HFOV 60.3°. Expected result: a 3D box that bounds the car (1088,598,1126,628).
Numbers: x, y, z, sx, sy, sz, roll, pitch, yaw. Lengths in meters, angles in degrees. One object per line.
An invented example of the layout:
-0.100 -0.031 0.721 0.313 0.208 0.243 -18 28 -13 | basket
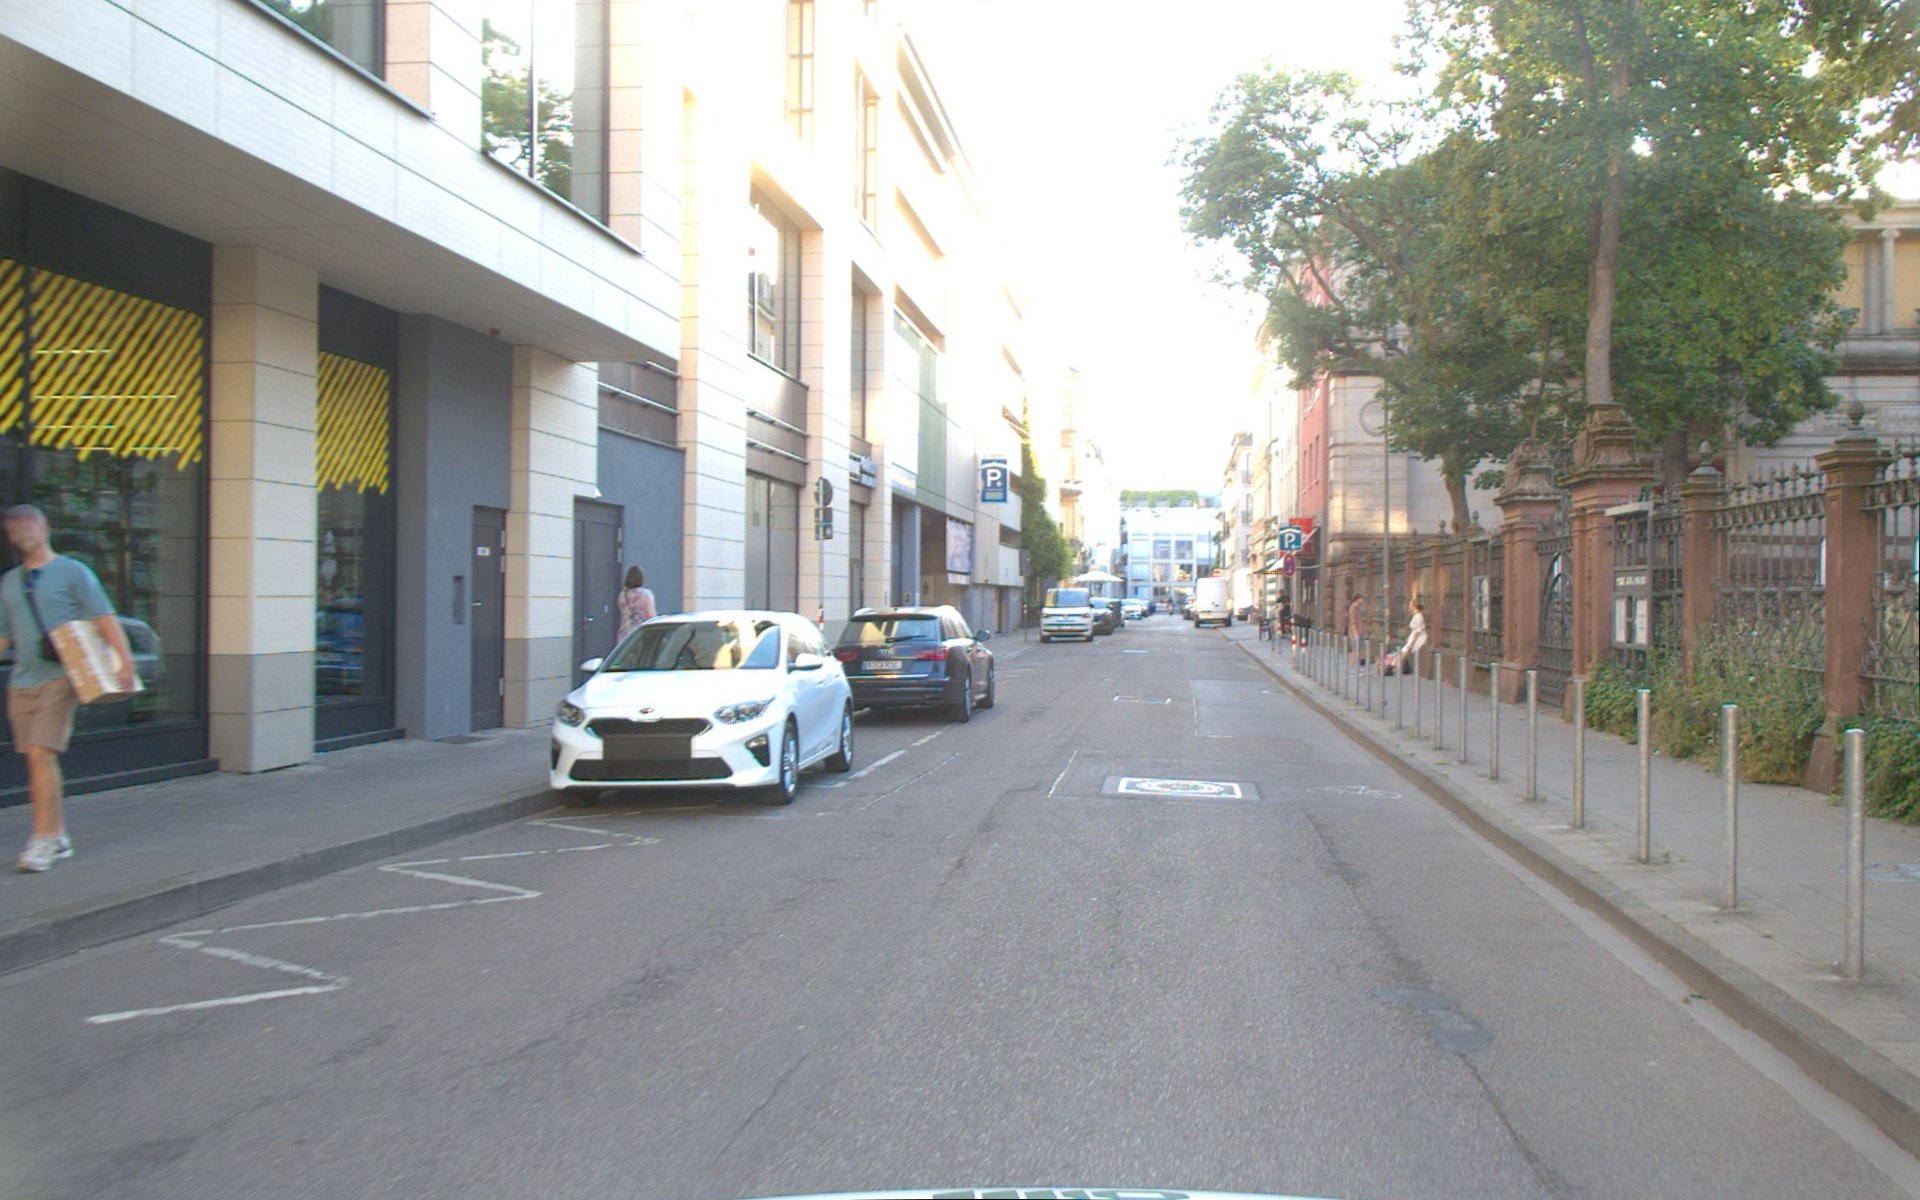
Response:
7.618 0.671 85.413 1.843 1.478 4.003 0 0 6 | car

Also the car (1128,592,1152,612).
15.445 0.194 141.853 1.951 1.713 4.003 1 0 8 | car

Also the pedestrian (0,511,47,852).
-5.113 0.405 8.308 0.658 1.704 0.648 1 0 5 | pedestrian

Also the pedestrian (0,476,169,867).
-4.451 0.338 8.253 0.658 1.868 0.648 1 0 5 | pedestrian

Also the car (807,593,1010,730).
-0.565 0.724 22.308 1.843 1.626 4.693 0 0 9 | car

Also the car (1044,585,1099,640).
4.127 0.422 60.491 1.843 1.945 4.751 0 0 6 | car

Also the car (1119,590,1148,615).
12.531 0.195 119.355 1.951 1.713 4.003 1 0 8 | car

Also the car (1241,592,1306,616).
19.528 0.272 103.056 3.902 1.445 1.658 1 0 8 | car

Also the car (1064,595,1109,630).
5.513 0.520 71.737 1.843 1.478 4.003 0 0 6 | car

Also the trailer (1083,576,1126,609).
7.090 -0.342 80.854 1.951 1.584 4.003 1 0 6 | trailer

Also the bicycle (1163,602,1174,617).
19.447 0.879 154.137 0.954 1.302 2.756 1 0 8 | bicycle

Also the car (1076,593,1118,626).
6.388 0.415 76.782 1.843 1.478 4.003 0 0 6 | car

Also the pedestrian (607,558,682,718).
-3.582 0.418 18.787 0.657 1.775 0.648 0 0 7 | pedestrian

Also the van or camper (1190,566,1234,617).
14.116 -0.454 92.976 2.210 2.652 5.116 -4 -1 8 | van or camper

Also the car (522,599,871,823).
-1.927 0.753 13.414 1.740 1.478 4.234 0 0 6 | car

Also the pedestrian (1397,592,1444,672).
8.962 0.618 32.219 0.733 1.526 0.619 -1 0 2 | pedestrian

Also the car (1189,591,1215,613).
18.878 0.170 129.107 1.951 1.713 4.003 1 0 8 | car

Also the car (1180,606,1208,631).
16.584 1.326 117.286 1.951 1.713 4.003 1 0 8 | car

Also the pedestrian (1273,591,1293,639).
11.659 0.534 59.739 0.648 1.695 0.624 -2 0 8 | pedestrian

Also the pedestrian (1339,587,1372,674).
7.816 0.598 32.737 0.474 1.687 0.619 -1 0 0 | pedestrian

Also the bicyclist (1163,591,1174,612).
19.395 0.151 153.829 0.969 1.901 0.709 1 -1 8 | bicyclist
